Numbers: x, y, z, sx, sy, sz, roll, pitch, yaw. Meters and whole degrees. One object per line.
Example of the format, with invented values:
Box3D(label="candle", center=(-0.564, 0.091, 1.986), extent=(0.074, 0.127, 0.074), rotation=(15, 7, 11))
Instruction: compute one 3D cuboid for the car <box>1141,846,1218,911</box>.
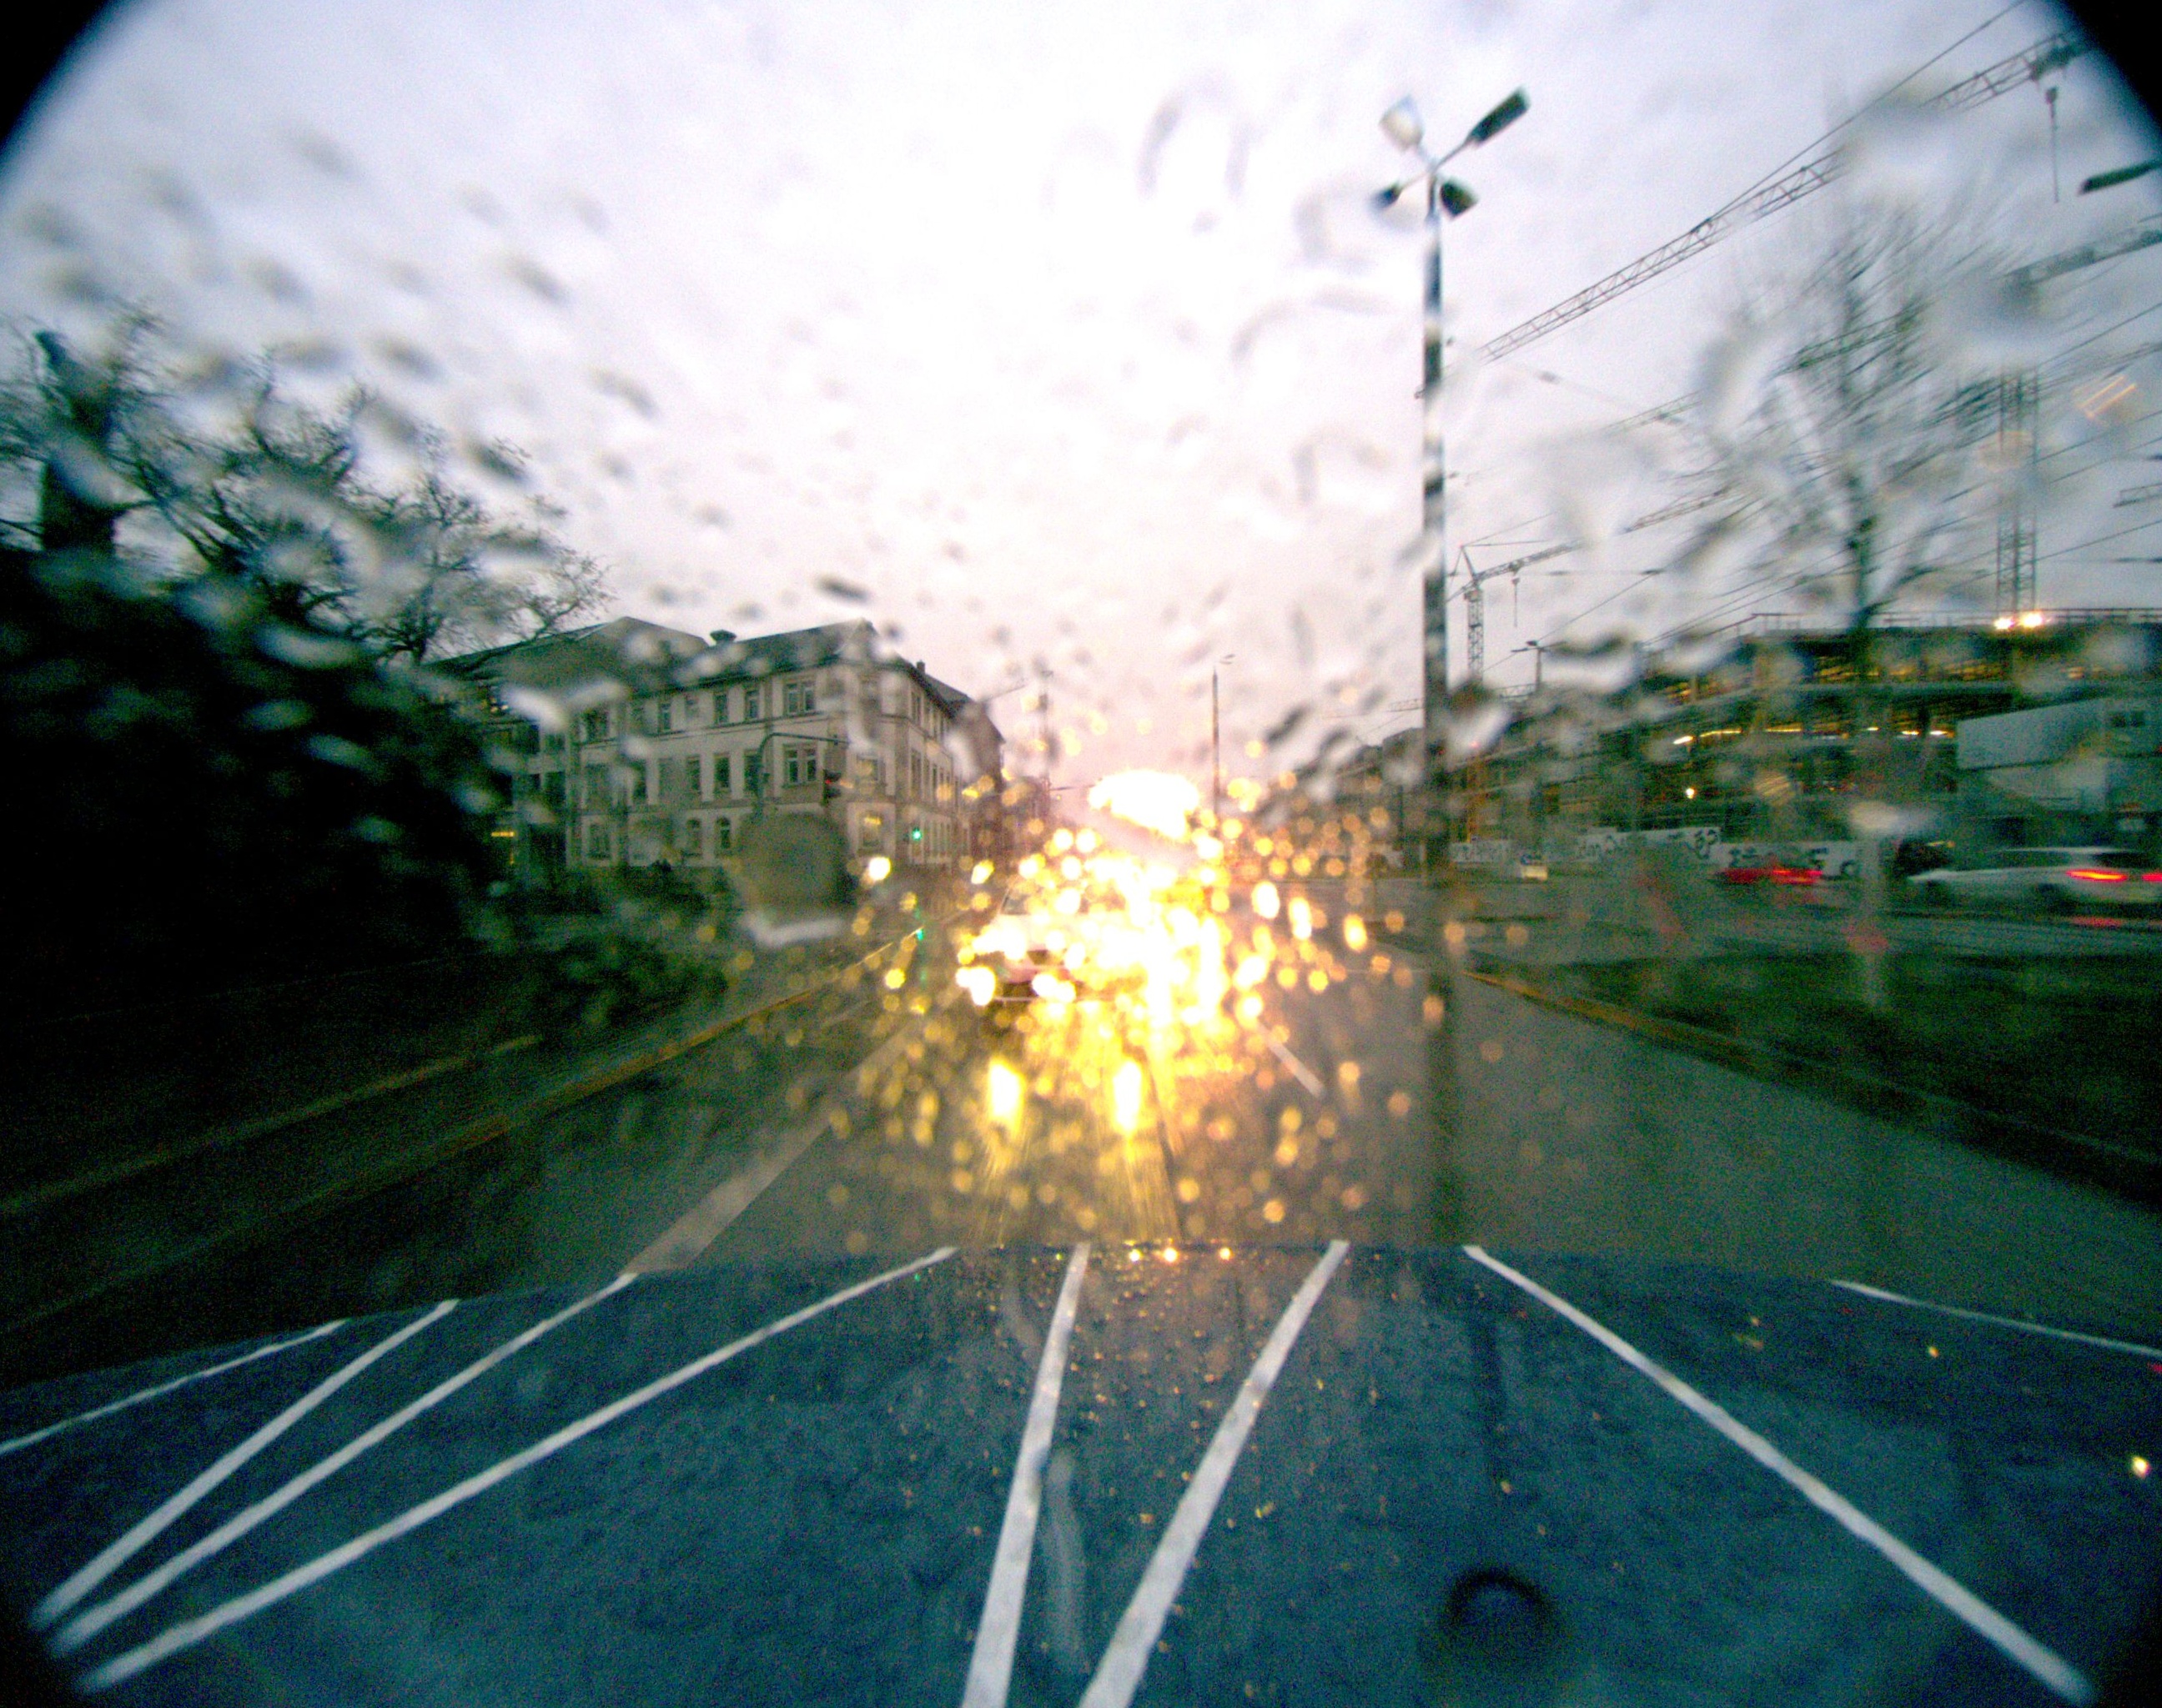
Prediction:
Box3D(label="car", center=(2.831, 0.651, 22.679), extent=(1.858, 1.723, 4.000), rotation=(-2, 1, 2))

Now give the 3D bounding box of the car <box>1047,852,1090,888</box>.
Box3D(label="car", center=(-0.573, 0.657, 33.889), extent=(1.764, 1.443, 3.999), rotation=(-2, 0, -1))

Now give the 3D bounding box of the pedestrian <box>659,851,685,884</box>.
Box3D(label="pedestrian", center=(-24.712, 0.799, 45.903), extent=(0.976, 1.969, 0.869), rotation=(-2, 1, 23))

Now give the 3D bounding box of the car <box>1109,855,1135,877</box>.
Box3D(label="car", center=(3.213, 0.937, 60.029), extent=(1.844, 1.547, 3.999), rotation=(-2, 1, 0))

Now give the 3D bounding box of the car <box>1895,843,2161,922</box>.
Box3D(label="car", center=(24.597, 0.640, 19.898), extent=(1.885, 1.779, 4.600), rotation=(-2, 1, 5))

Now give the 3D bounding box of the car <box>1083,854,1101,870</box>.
Box3D(label="car", center=(1.142, 0.848, 81.107), extent=(1.844, 1.547, 3.999), rotation=(-2, 1, 0))

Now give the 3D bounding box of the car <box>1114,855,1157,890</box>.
Box3D(label="car", center=(2.799, 0.923, 39.951), extent=(1.844, 1.644, 4.323), rotation=(-2, 1, -1))

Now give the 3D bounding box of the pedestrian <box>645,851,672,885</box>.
Box3D(label="pedestrian", center=(-24.995, 0.815, 44.966), extent=(0.976, 1.969, 0.869), rotation=(-2, 1, 23))

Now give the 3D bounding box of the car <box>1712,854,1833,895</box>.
Box3D(label="car", center=(30.066, 0.841, 33.218), extent=(1.885, 1.565, 4.001), rotation=(-2, 1, 6))

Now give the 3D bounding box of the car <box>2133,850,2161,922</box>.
Box3D(label="car", center=(27.900, 0.791, 17.413), extent=(1.886, 1.779, 4.176), rotation=(-2, 1, 3))

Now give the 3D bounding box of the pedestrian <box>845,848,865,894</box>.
Box3D(label="pedestrian", center=(-9.338, 0.697, 31.412), extent=(0.675, 1.868, 0.714), rotation=(-2, 1, -10))

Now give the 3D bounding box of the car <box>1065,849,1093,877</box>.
Box3D(label="car", center=(-0.162, 0.598, 53.486), extent=(1.858, 1.886, 3.999), rotation=(-2, 1, -1))

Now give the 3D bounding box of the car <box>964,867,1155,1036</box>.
Box3D(label="car", center=(-0.244, 0.954, 9.193), extent=(1.764, 1.443, 3.999), rotation=(-2, 0, -1))
